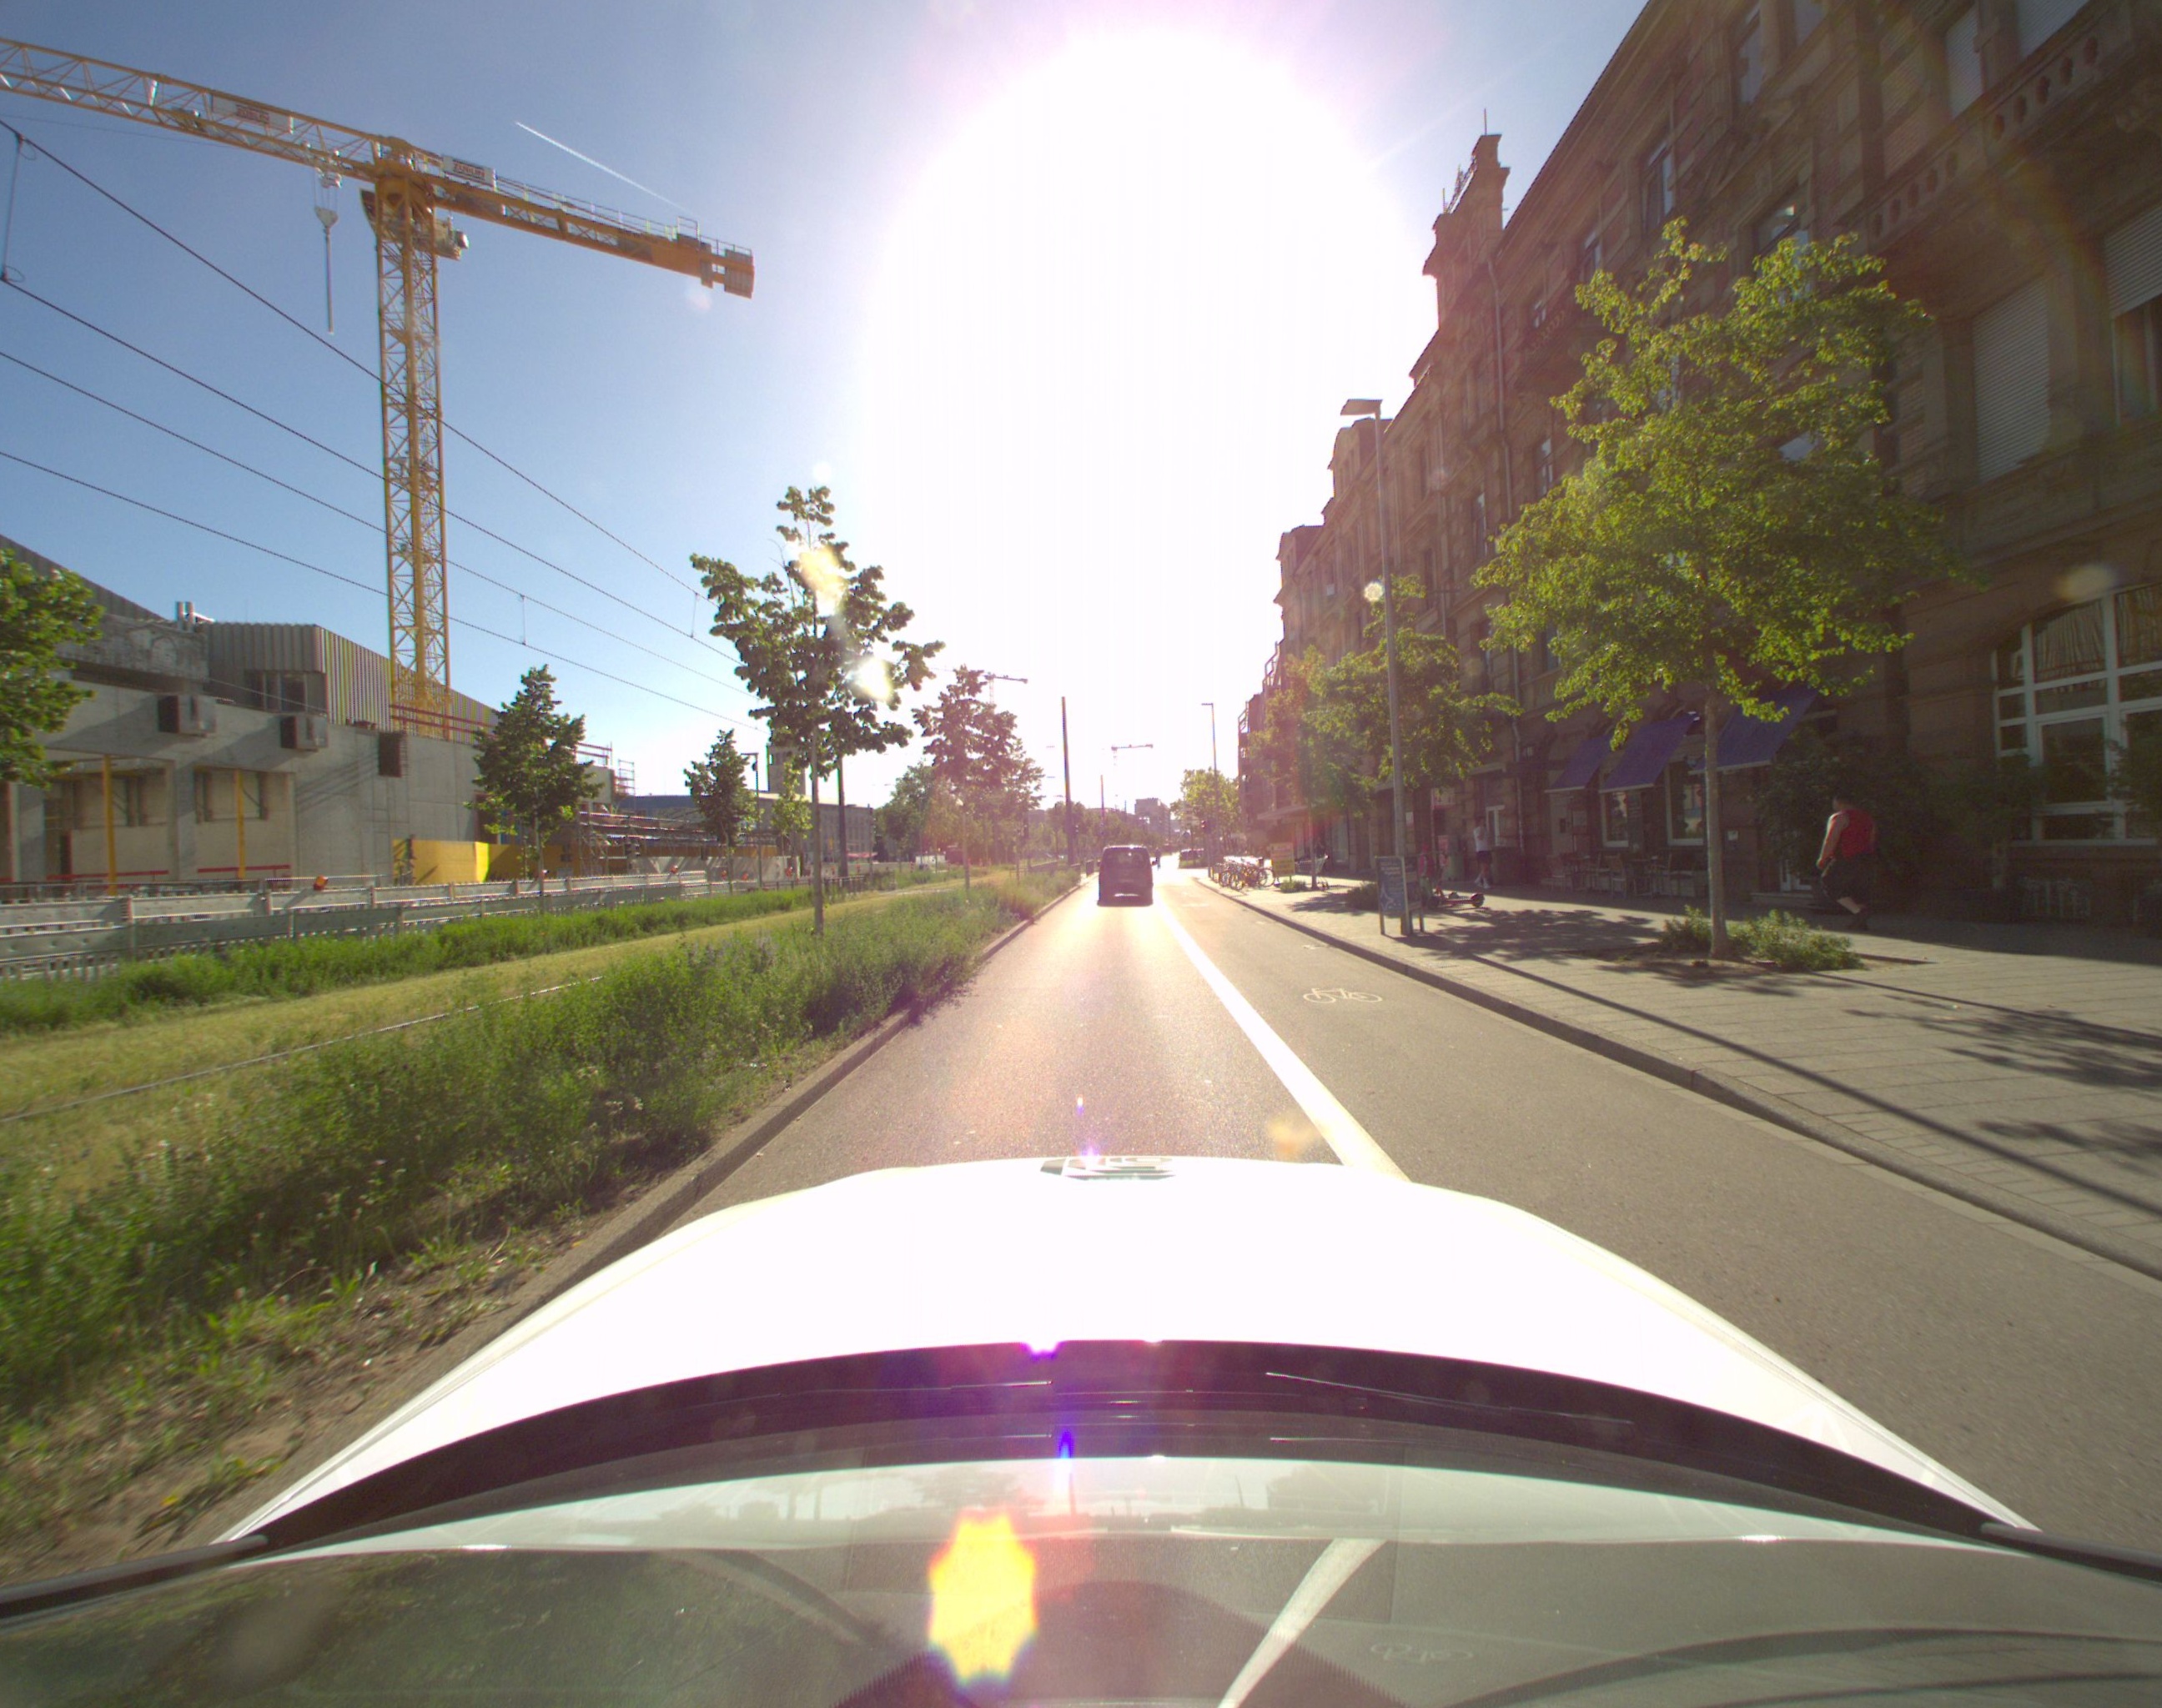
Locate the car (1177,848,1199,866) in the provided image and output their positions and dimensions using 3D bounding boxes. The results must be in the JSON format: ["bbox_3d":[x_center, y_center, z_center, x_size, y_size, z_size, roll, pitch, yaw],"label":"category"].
[{"bbox_3d":[10.346,0.311,78.714,2.011,1.722,4.126,-1,-1,6],"label":"car"}]

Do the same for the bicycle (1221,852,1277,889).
[{"bbox_3d":[6.237,0.609,30.262,1.876,1.233,0.499,-5,-1,-5],"label":"bicycle"}]

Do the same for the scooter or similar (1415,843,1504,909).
[{"bbox_3d":[7.716,0.436,16.641,1.470,1.216,0.601,-5,1,-3],"label":"scooter or similar"}]

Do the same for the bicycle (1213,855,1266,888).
[{"bbox_3d":[6.471,0.709,33.310,1.912,1.121,0.664,-6,-1,-5],"label":"bicycle"}]

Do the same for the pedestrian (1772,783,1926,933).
[{"bbox_3d":[9.602,0.052,10.227,0.992,1.731,0.866,-4,-1,1],"label":"pedestrian"}]

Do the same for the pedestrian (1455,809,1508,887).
[{"bbox_3d":[10.605,-0.138,21.588,0.814,2.014,1.046,-1,-3,1],"label":"pedestrian"}]

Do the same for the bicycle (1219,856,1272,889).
[{"bbox_3d":[6.414,0.717,31.793,1.822,1.078,0.664,-5,-1,-5],"label":"bicycle"}]

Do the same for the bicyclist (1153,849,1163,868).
[{"bbox_3d":[6.275,0.367,66.384,0.680,1.584,0.840,-2,0,1],"label":"bicyclist"}]

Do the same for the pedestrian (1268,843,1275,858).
[{"bbox_3d":[21.154,-0.421,90.581,0.695,1.652,0.726,-2,0,10],"label":"pedestrian"}]

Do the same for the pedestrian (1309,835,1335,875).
[{"bbox_3d":[10.865,0.042,36.730,0.841,1.742,0.887,-3,-1,2],"label":"pedestrian"}]

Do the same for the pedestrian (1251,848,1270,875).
[{"bbox_3d":[9.688,0.404,44.004,0.700,1.336,1.012,-6,-1,2],"label":"pedestrian"}]

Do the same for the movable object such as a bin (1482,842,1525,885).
[{"bbox_3d":[11.394,0.255,21.958,0.723,1.098,0.747,-2,0,-3],"label":"movable object such as a bin"}]

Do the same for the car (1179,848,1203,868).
[{"bbox_3d":[9.730,0.357,72.404,1.978,1.638,4.197,-1,-1,6],"label":"car"}]

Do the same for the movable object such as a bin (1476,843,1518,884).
[{"bbox_3d":[11.593,0.270,22.722,0.723,1.098,0.747,-2,0,-3],"label":"movable object such as a bin"}]

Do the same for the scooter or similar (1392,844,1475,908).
[{"bbox_3d":[7.523,0.451,17.406,1.473,1.216,0.600,-5,1,-9],"label":"scooter or similar"}]

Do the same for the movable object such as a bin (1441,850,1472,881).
[{"bbox_3d":[11.640,0.360,25.253,0.603,0.916,0.650,-2,0,-3],"label":"movable object such as a bin"}]

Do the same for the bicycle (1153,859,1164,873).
[{"bbox_3d":[6.299,0.990,66.394,0.699,1.091,2.278,-2,0,1],"label":"bicycle"}]

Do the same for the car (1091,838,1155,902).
[{"bbox_3d":[1.378,0.532,27.824,1.986,2.014,4.001,-1,-1,1],"label":"car"}]

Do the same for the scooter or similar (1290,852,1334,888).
[{"bbox_3d":[7.751,0.542,27.387,1.214,1.106,0.784,-4,0,4],"label":"scooter or similar"}]
